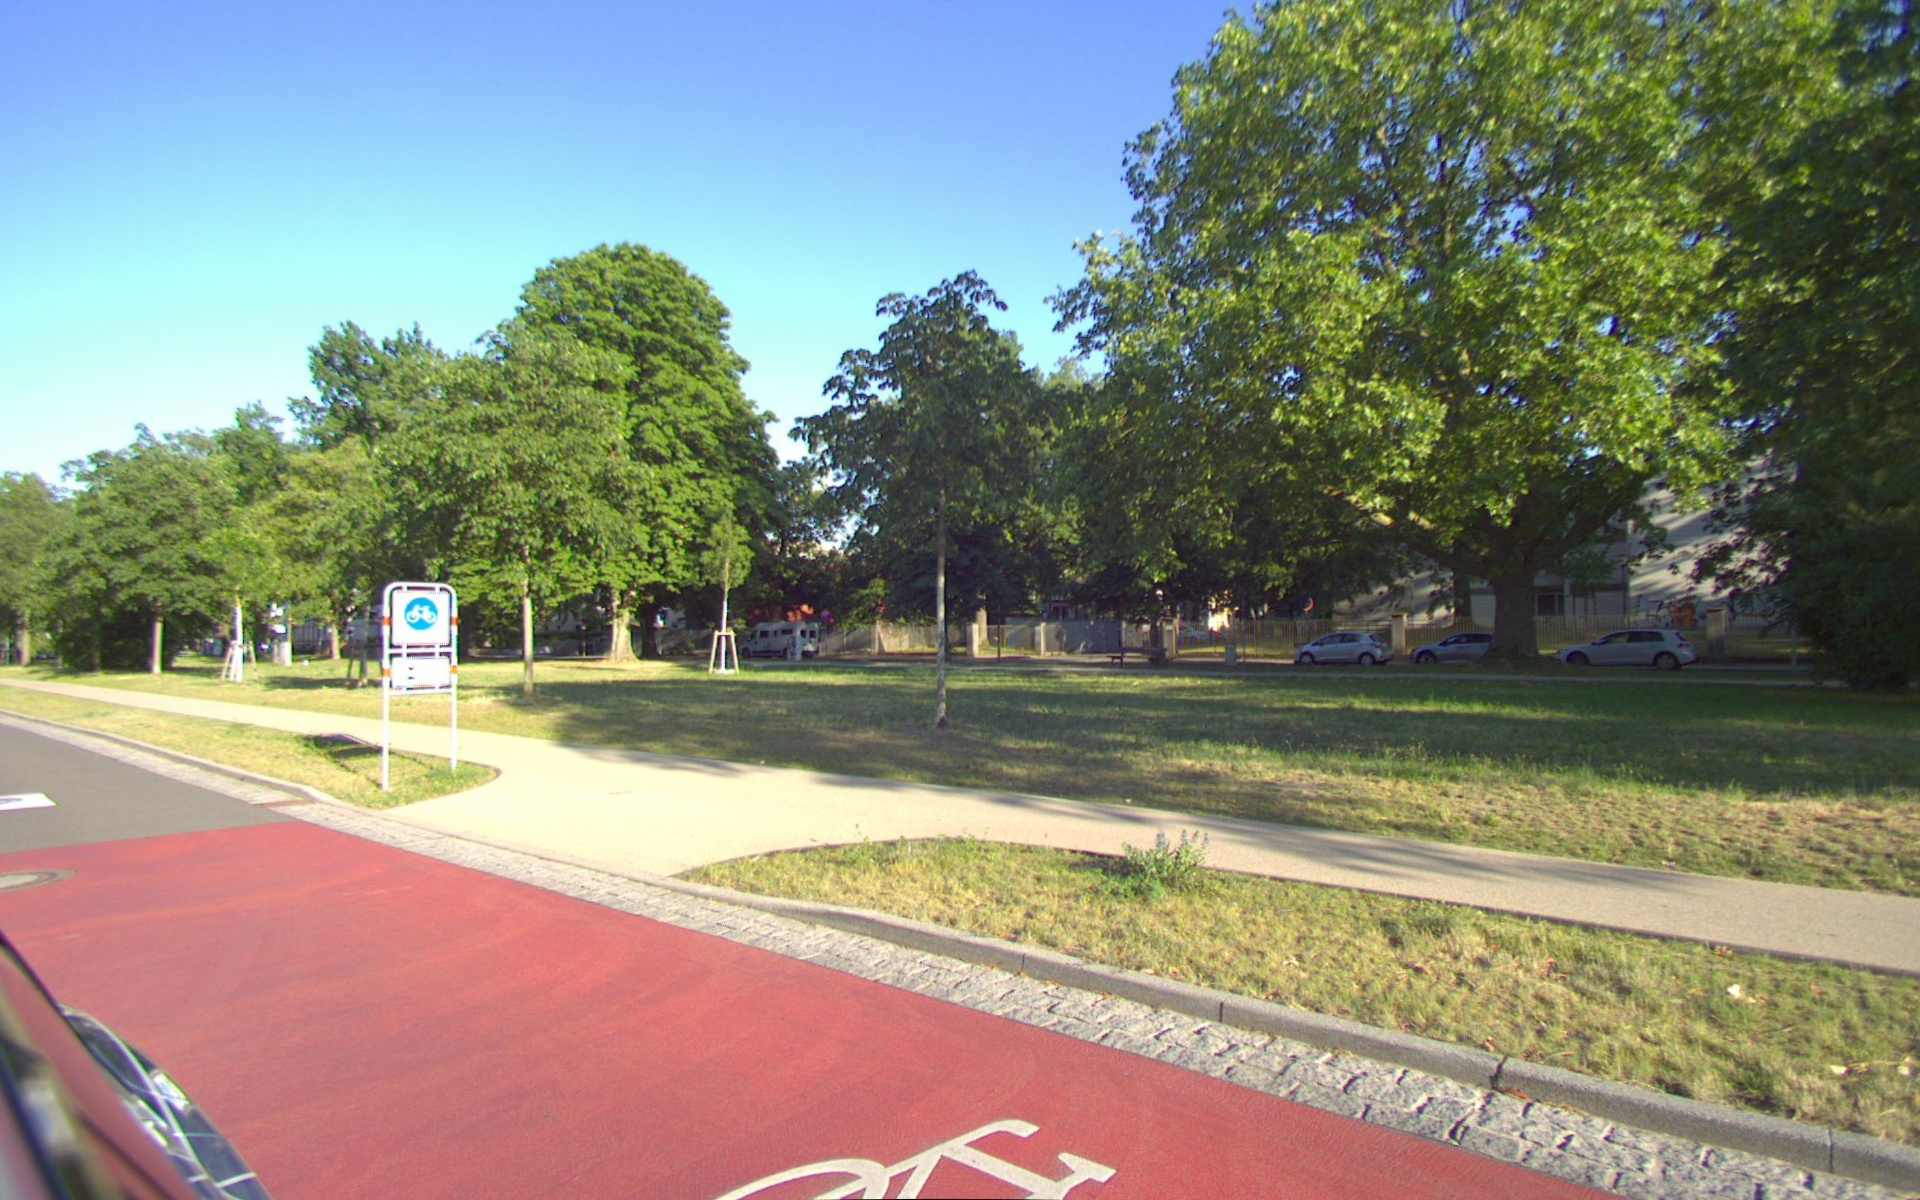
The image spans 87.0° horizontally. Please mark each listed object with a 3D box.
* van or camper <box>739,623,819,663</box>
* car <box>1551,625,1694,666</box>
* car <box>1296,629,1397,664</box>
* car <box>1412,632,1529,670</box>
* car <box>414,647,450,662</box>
[{"bbox_3d":[-11.901,2.819,66.396,5.460,2.458,1.974,-3,0,39],"label":"van or camper"},{"bbox_3d":[23.509,1.628,35.996,4.104,1.378,1.507,-3,-2,40],"label":"car"},{"bbox_3d":[16.211,1.952,42.492,3.646,1.378,1.507,-3,-2,40],"label":"car"},{"bbox_3d":[19.824,1.993,39.343,3.789,1.378,1.507,-3,-2,40],"label":"car"},{"bbox_3d":[-52.614,5.439,100.812,3.996,1.475,1.774,-3,-2,39],"label":"car"}]
